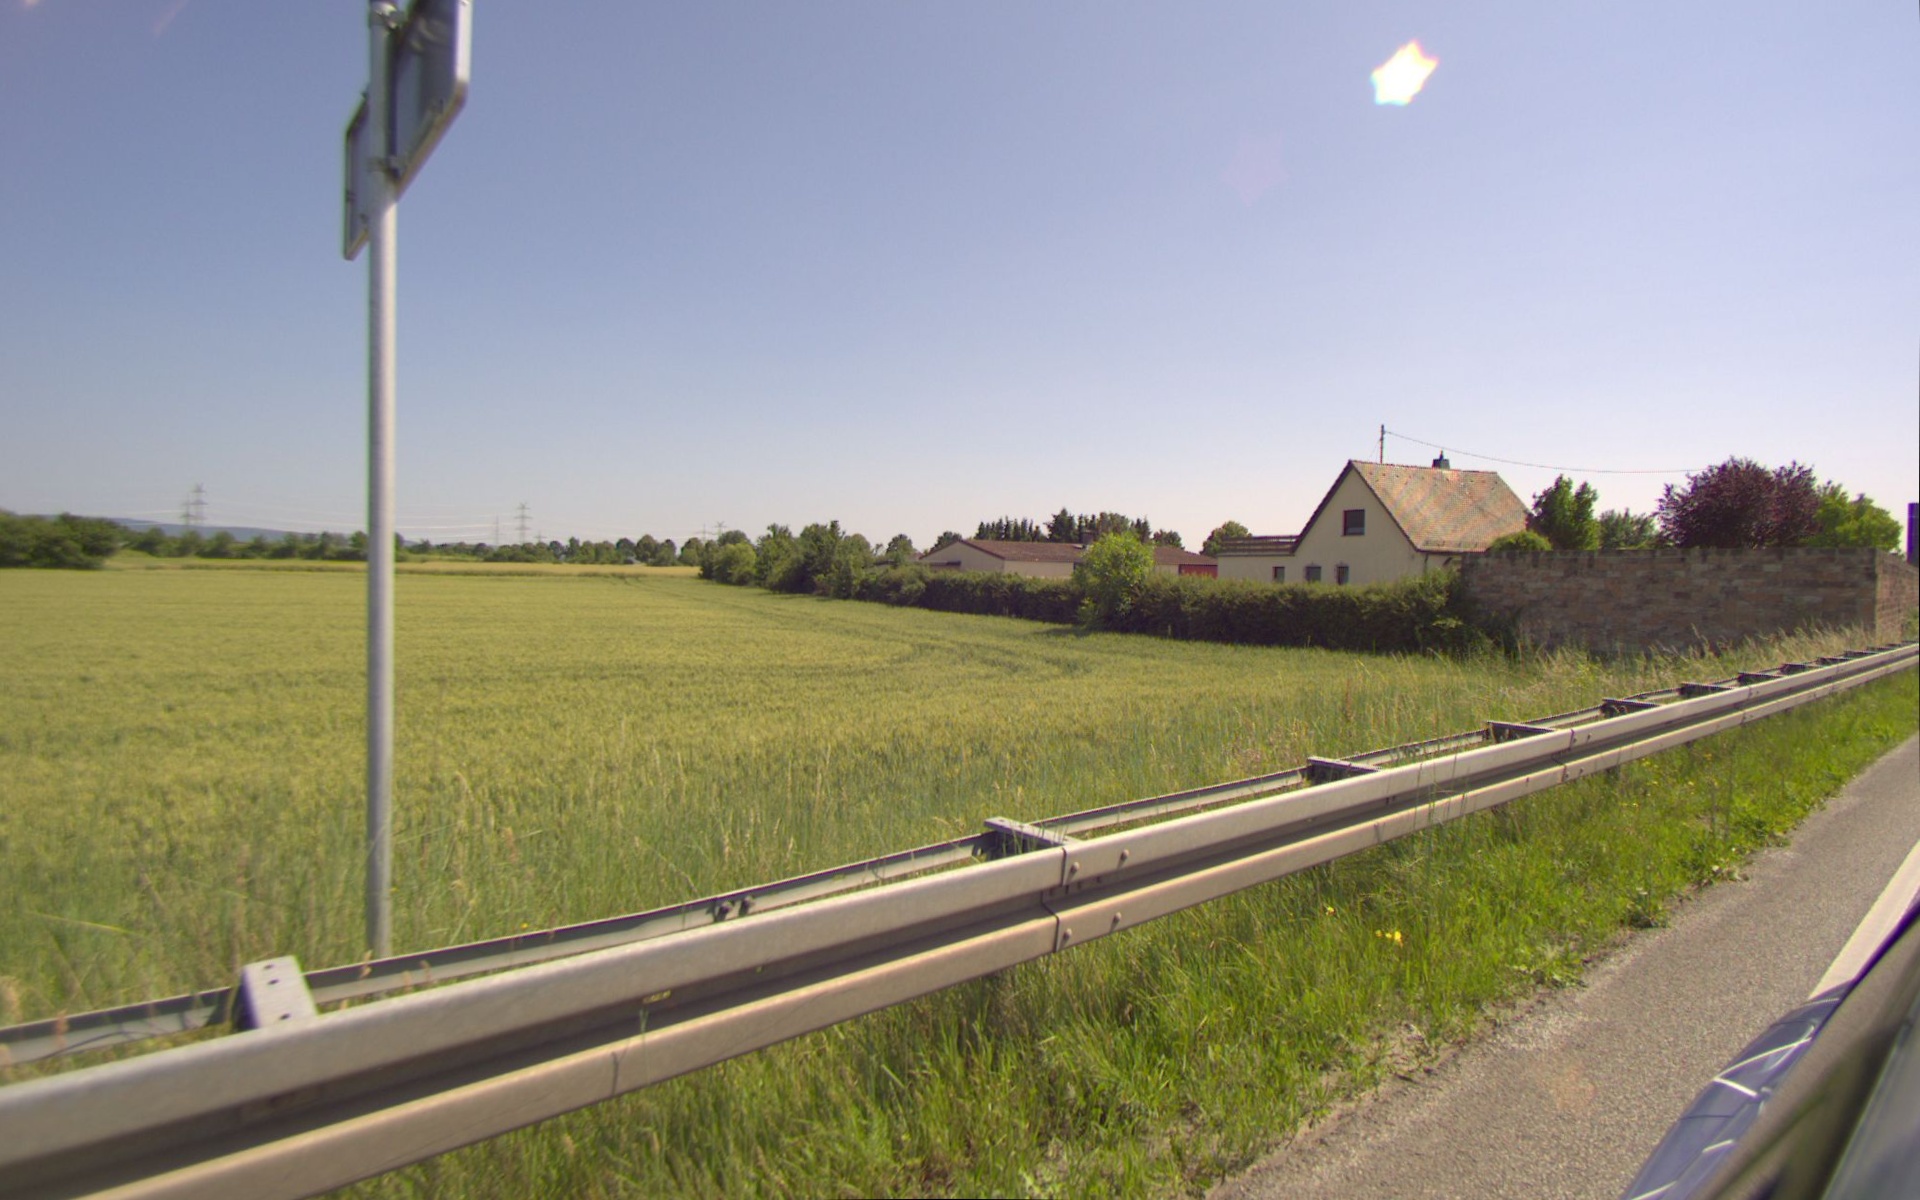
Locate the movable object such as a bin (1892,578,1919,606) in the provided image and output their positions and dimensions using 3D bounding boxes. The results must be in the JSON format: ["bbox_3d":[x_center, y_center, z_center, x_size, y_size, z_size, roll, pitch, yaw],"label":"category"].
[{"bbox_3d":[80.199,-0.658,84.046,4.091,2.360,1.258,0,1,42],"label":"movable object such as a bin"}]
